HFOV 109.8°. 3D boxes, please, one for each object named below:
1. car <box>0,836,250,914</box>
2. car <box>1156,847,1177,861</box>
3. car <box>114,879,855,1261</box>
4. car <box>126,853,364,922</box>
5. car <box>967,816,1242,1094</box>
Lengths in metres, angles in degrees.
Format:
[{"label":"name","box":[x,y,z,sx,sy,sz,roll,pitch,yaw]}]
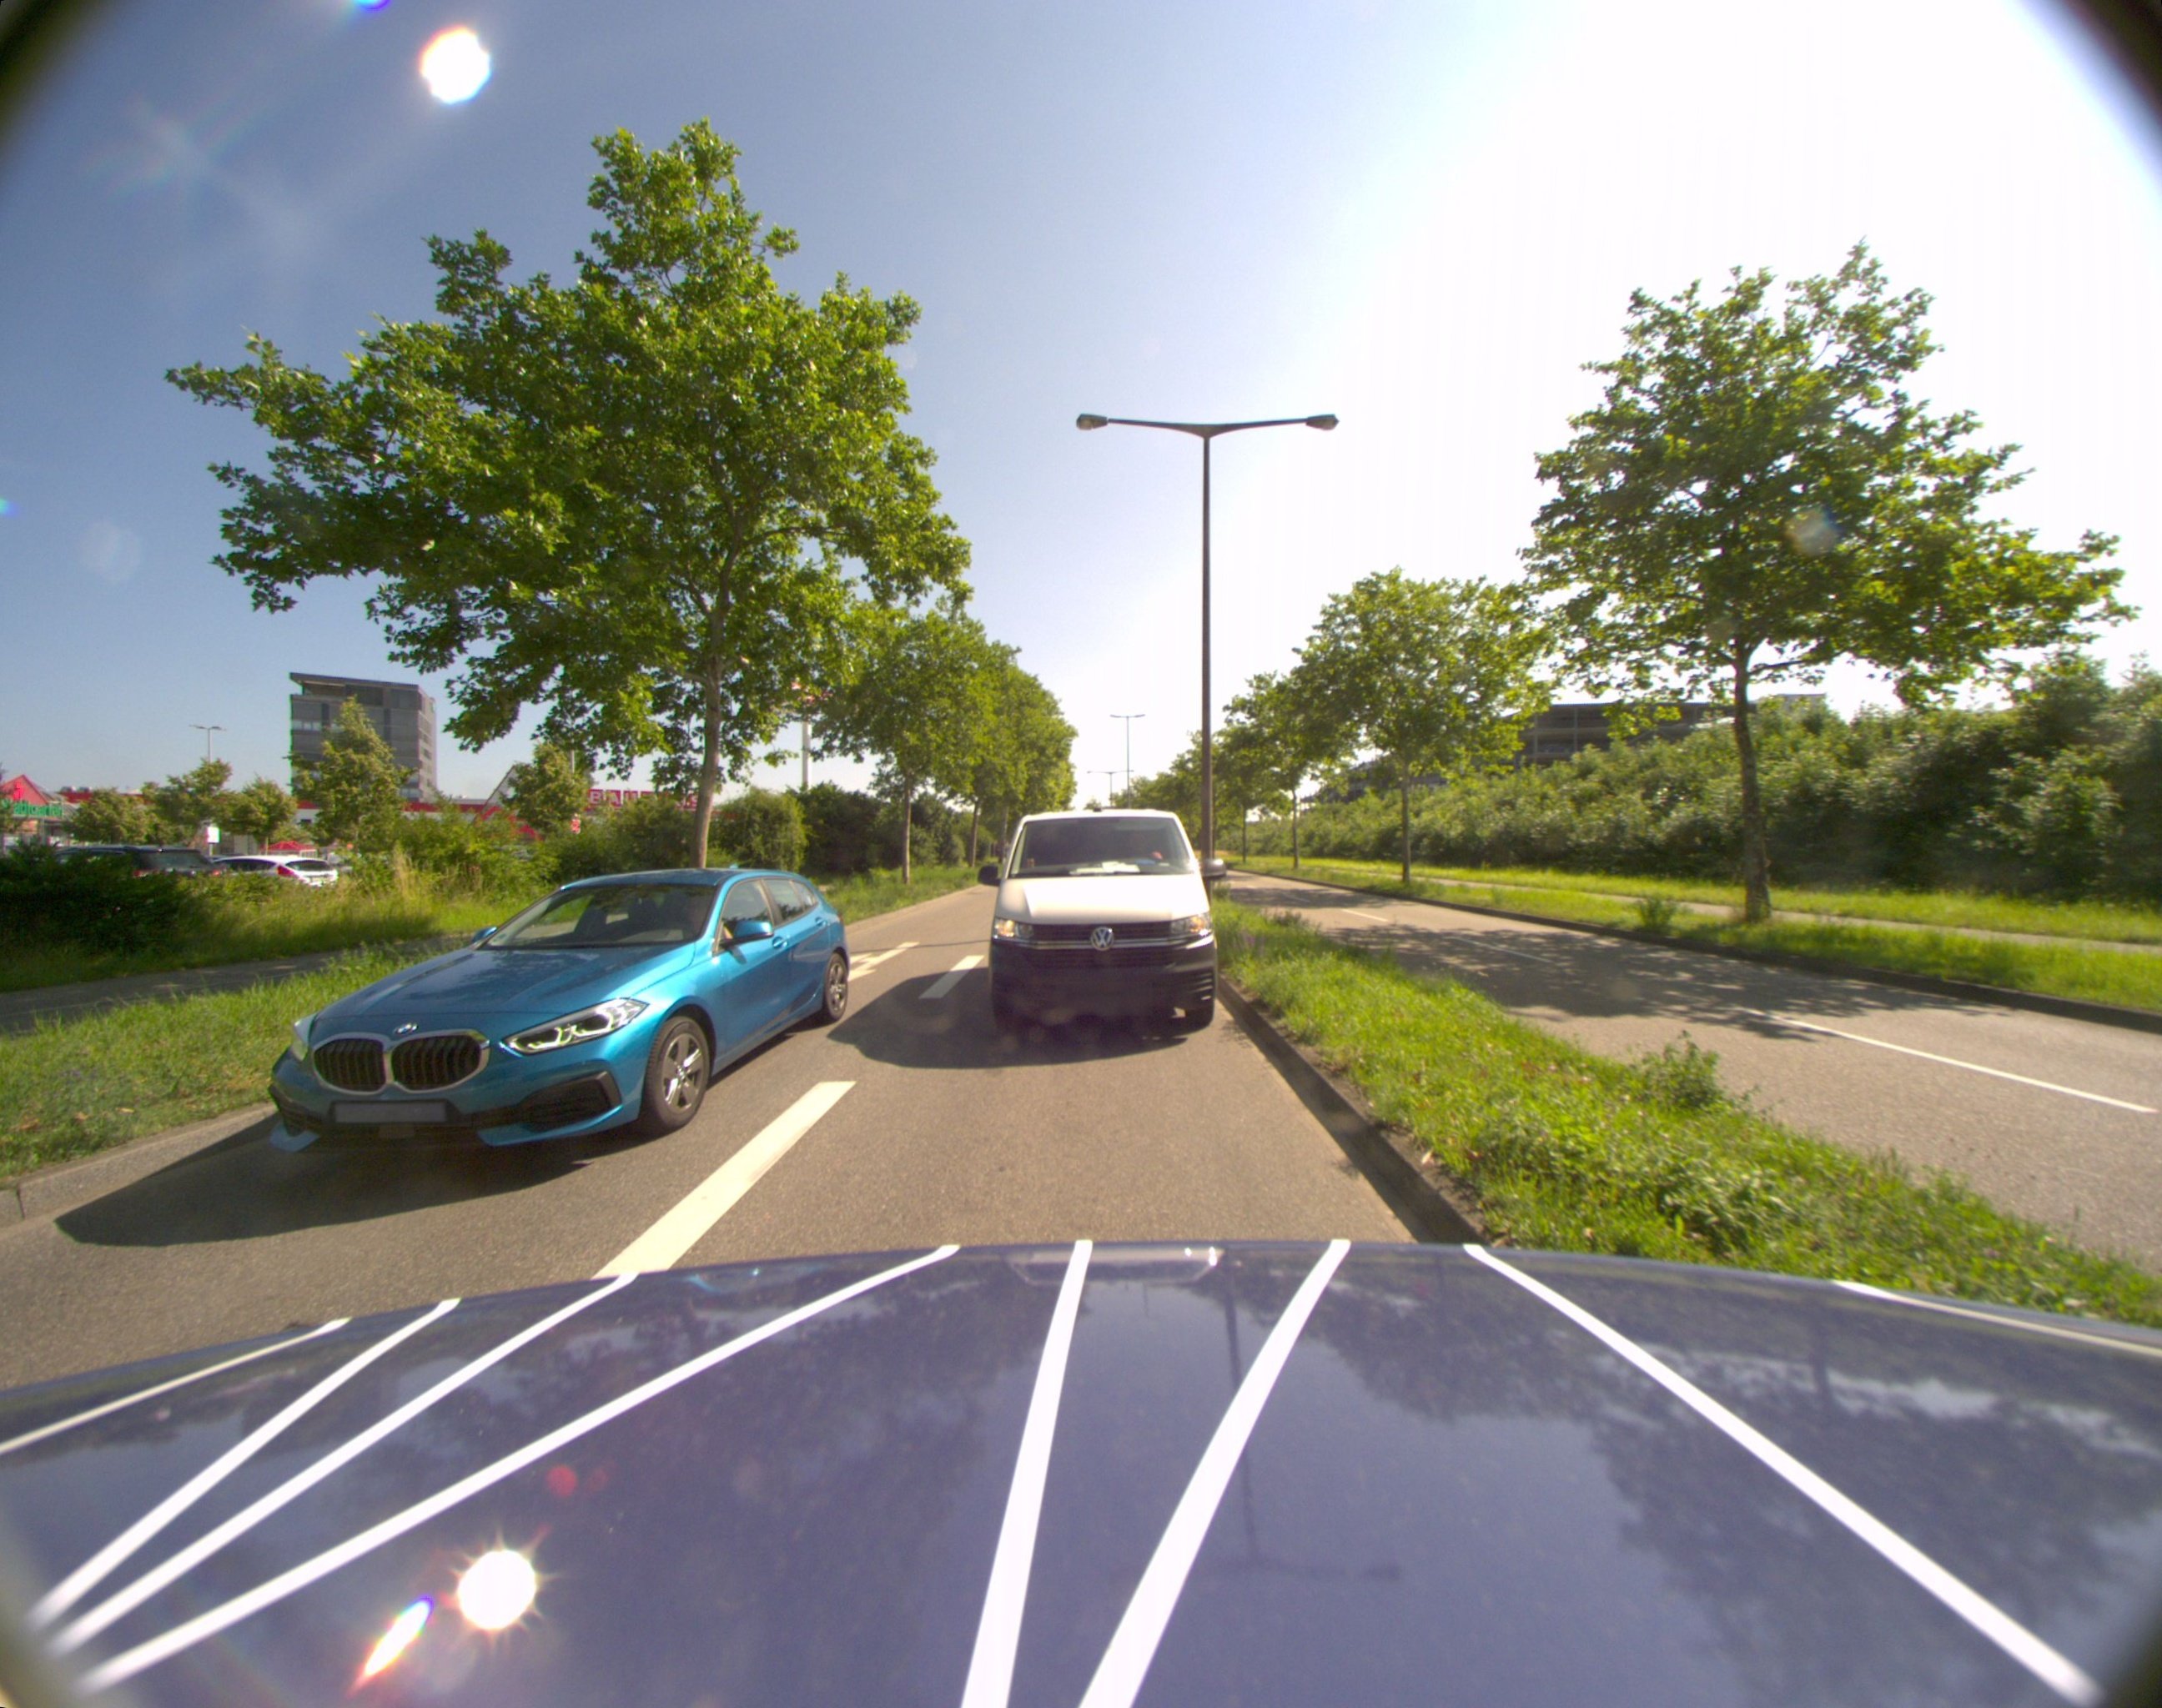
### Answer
[{"label":"car","box":[-22.402,0.461,17.544,4.083,1.582,1.880,-2,1,-4]},{"label":"car","box":[9.123,-0.011,81.213,1.704,1.499,3.999,0,0,-2]},{"label":"car","box":[-3.119,0.981,5.275,1.872,1.412,4.129,-1,1,0]},{"label":"car","box":[-22.433,0.858,20.540,4.083,1.582,1.880,-2,1,-4]},{"label":"car","box":[0.155,0.661,7.652,1.872,1.889,4.880,-1,1,0]}]
